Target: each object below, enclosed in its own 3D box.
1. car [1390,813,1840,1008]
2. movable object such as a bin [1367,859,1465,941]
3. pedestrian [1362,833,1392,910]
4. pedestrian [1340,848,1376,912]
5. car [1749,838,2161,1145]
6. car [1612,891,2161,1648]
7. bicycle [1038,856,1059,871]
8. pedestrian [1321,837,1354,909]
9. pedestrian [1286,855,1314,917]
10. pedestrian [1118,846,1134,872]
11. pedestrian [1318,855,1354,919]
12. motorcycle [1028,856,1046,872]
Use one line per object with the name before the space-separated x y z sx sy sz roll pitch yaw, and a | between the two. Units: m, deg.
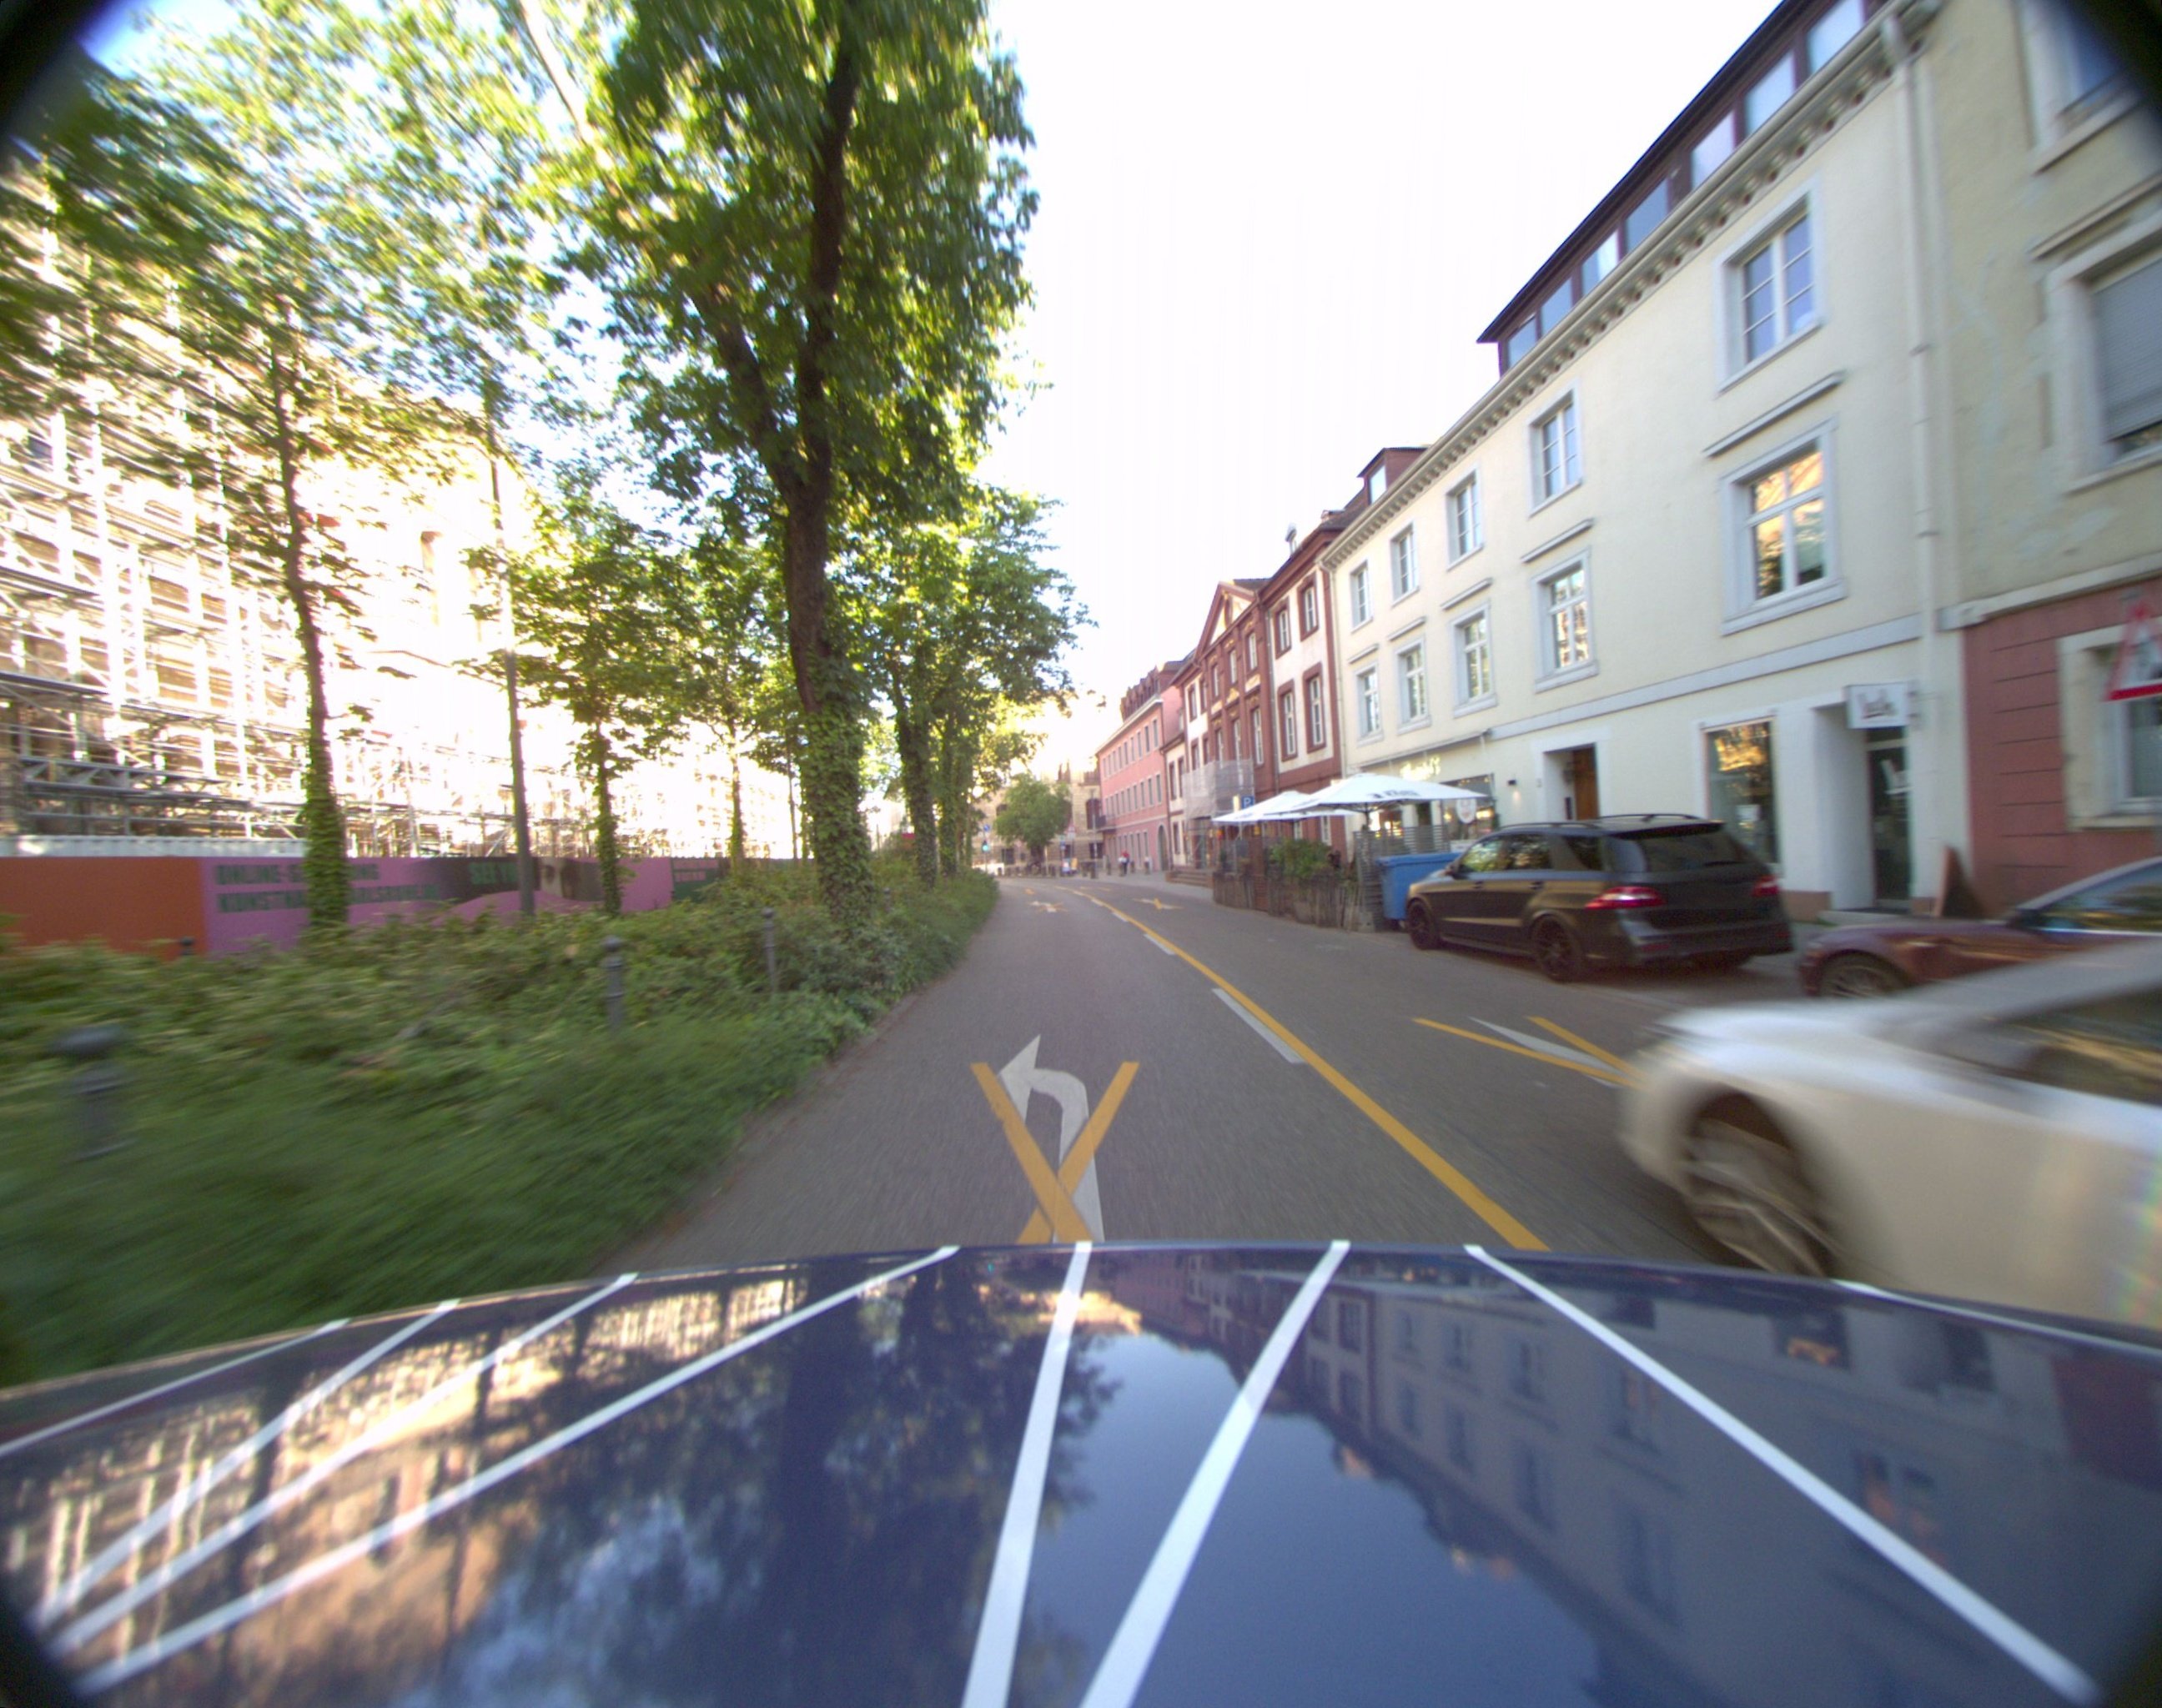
car | 5.805 0.494 9.242 1.927 1.670 4.783 -3 0 -3
movable object such as a bin | 5.727 0.767 13.046 1.219 1.288 0.930 -3 1 0
pedestrian | 6.964 0.399 17.893 0.438 1.765 0.598 -3 1 8
pedestrian | 6.256 0.582 17.184 0.525 1.383 0.488 -3 1 -8
car | 6.182 0.676 3.786 1.658 1.472 4.426 -3 0 -2
car | 3.070 0.906 0.928 1.739 1.413 4.428 -2 0 0
bicycle | -2.850 0.824 67.290 0.681 1.199 2.009 -1 1 36
pedestrian | 6.417 0.464 19.028 0.597 1.765 0.439 -3 1 4
pedestrian | 5.254 0.759 18.247 0.472 1.425 0.502 -4 1 0
pedestrian | 3.053 0.360 51.305 0.793 1.679 0.868 -5 1 -8
pedestrian | 5.719 0.732 17.056 0.525 1.383 0.488 -3 1 -8
motorcycle | -3.812 0.859 65.220 0.815 1.309 2.333 -3 0 -21
